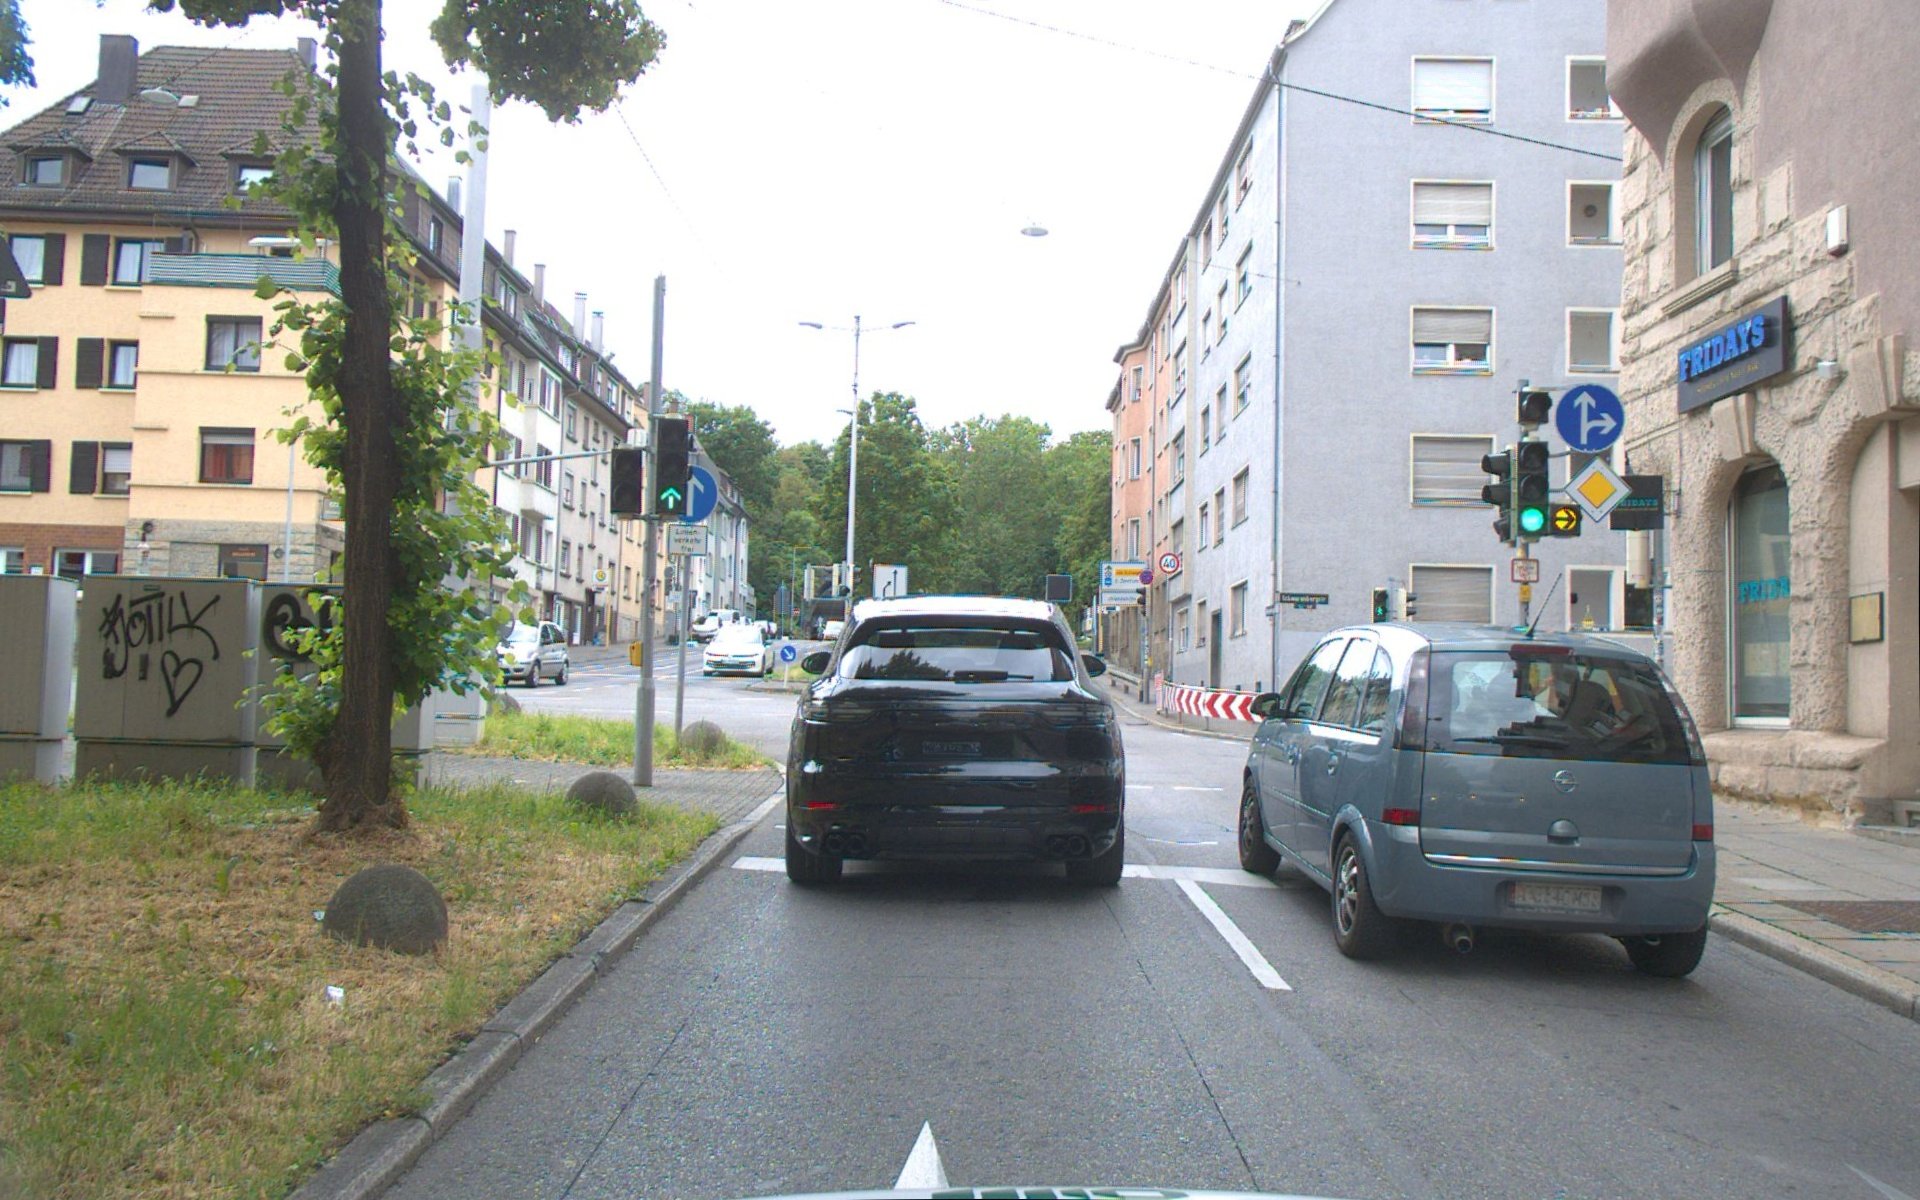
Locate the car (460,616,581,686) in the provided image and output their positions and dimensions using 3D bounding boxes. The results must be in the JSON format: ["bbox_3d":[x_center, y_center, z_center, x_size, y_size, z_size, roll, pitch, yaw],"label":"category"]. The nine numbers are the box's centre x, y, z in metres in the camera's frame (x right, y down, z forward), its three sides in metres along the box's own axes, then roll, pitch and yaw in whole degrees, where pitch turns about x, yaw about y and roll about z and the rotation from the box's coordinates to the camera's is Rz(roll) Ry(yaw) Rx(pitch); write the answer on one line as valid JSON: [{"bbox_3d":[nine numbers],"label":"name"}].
[{"bbox_3d":[-10.044,1.178,38.075,1.585,1.506,3.824,1,-2,3],"label":"car"}]

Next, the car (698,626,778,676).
[{"bbox_3d":[-6.545,1.487,49.127,1.824,1.412,4.093,1,-1,0],"label":"car"}]

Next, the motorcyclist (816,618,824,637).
[{"bbox_3d":[-9.341,1.842,110.609,0.501,1.247,0.466,1,-1,-1],"label":"motorcyclist"}]

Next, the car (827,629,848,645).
[{"bbox_3d":[-10.053,3.041,135.893,1.519,1.279,3.661,1,-1,0],"label":"car"}]

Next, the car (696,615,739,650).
[{"bbox_3d":[-15.060,1.996,102.823,1.975,2.081,4.665,1,-1,0],"label":"car"}]

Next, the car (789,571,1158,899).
[{"bbox_3d":[0.044,0.740,10.625,1.916,1.704,3.999,0,-1,-1],"label":"car"}]

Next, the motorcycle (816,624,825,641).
[{"bbox_3d":[-9.346,2.171,110.605,0.501,1.059,1.389,1,-1,0],"label":"motorcycle"}]

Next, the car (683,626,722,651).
[{"bbox_3d":[-15.109,2.225,97.195,1.703,1.411,3.813,1,-1,0],"label":"car"}]

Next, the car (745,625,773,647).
[{"bbox_3d":[-14.953,2.685,123.196,1.655,1.565,3.813,1,-1,0],"label":"car"}]

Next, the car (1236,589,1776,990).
[{"bbox_3d":[2.675,0.853,8.995,1.596,1.625,3.667,4,-1,-1],"label":"car"}]
